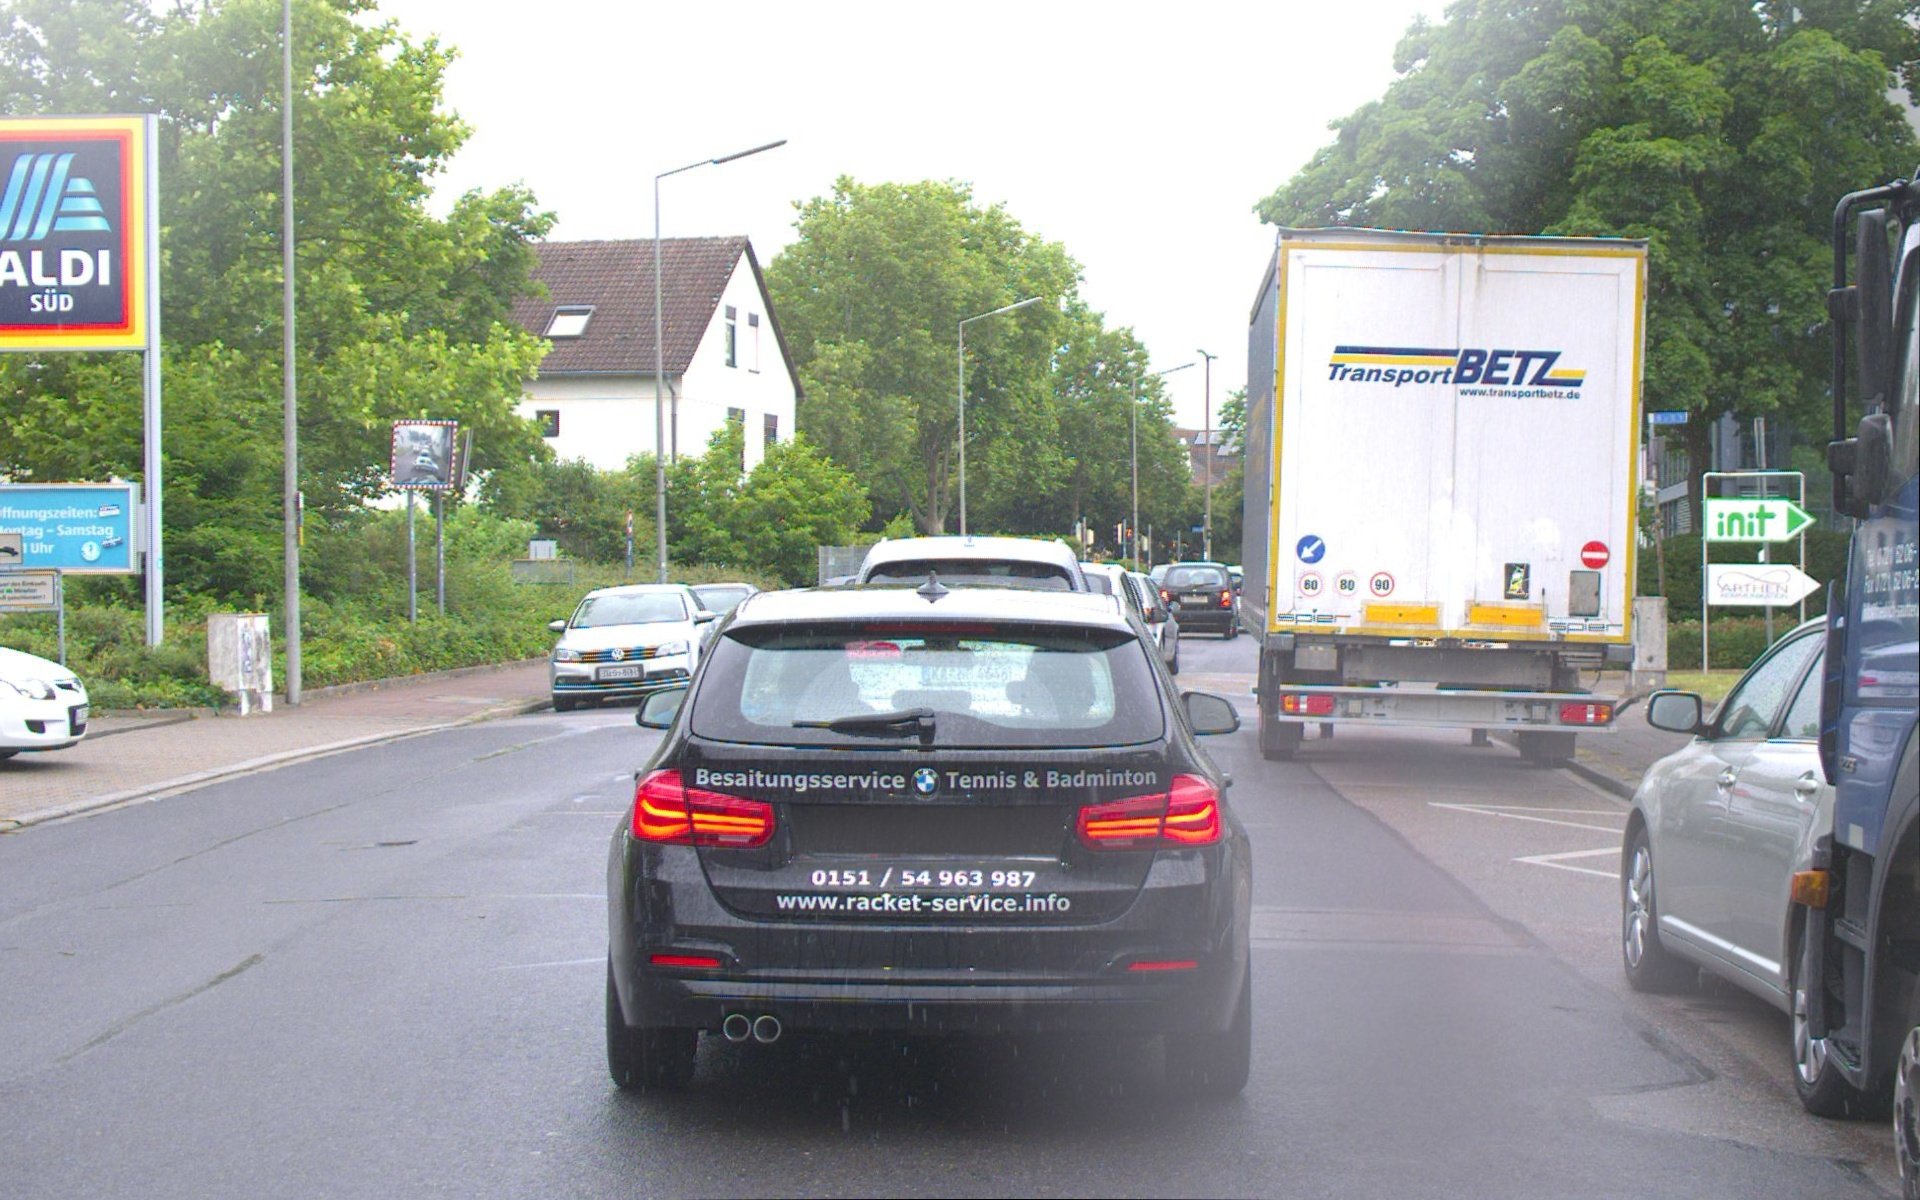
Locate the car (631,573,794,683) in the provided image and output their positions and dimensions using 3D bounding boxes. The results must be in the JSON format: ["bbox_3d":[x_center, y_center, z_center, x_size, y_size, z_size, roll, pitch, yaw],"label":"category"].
[{"bbox_3d":[-3.382,0.357,47.522,1.706,1.362,3.837,-2,1,3],"label":"car"}]

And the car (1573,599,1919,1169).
[{"bbox_3d":[3.285,0.736,11.097,1.797,1.436,4.345,0,0,0],"label":"car"}]

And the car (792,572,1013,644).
[{"bbox_3d":[-1.076,0.148,65.981,4.187,1.358,1.589,0,0,1],"label":"car"}]

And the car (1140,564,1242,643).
[{"bbox_3d":[4.822,0.073,71.327,1.805,1.581,3.999,1,0,8],"label":"car"}]

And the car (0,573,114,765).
[{"bbox_3d":[-8.926,0.500,26.946,4.190,1.455,1.712,1,0,-2],"label":"car"}]

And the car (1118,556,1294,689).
[{"bbox_3d":[3.231,0.294,45.917,1.993,1.678,4.000,1,0,-1],"label":"car"}]

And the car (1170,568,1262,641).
[{"bbox_3d":[5.807,0.102,77.725,1.805,1.581,3.999,1,0,8],"label":"car"}]

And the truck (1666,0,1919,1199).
[{"bbox_3d":[3.185,-0.395,3.872,2.741,3.776,9.299,3,0,0],"label":"truck"}]

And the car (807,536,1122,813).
[{"bbox_3d":[-0.043,0.427,21.865,1.804,1.581,4.000,1,0,-2],"label":"car"}]

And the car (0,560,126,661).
[{"bbox_3d":[-15.092,0.151,53.018,3.987,1.535,1.910,0,0,1],"label":"car"}]

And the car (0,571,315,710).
[{"bbox_3d":[-9.333,0.445,39.220,3.570,1.455,1.712,2,0,2],"label":"car"}]

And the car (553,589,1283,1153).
[{"bbox_3d":[-0.171,0.675,10.582,1.804,1.390,4.000,1,0,-2],"label":"car"}]

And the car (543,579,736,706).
[{"bbox_3d":[-3.811,0.472,41.559,1.705,1.362,4.601,-2,1,2],"label":"car"}]

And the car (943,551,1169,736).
[{"bbox_3d":[0.955,0.376,31.945,1.804,1.581,3.999,1,0,6],"label":"car"}]

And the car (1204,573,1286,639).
[{"bbox_3d":[7.128,0.138,85.639,1.805,1.581,3.999,1,0,8],"label":"car"}]

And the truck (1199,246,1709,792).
[{"bbox_3d":[3.621,-0.585,27.208,2.741,3.598,7.750,2,0,0],"label":"truck"}]

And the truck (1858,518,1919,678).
[{"bbox_3d":[15.958,-0.038,46.818,6.924,2.132,2.094,0,0,2],"label":"truck"}]
